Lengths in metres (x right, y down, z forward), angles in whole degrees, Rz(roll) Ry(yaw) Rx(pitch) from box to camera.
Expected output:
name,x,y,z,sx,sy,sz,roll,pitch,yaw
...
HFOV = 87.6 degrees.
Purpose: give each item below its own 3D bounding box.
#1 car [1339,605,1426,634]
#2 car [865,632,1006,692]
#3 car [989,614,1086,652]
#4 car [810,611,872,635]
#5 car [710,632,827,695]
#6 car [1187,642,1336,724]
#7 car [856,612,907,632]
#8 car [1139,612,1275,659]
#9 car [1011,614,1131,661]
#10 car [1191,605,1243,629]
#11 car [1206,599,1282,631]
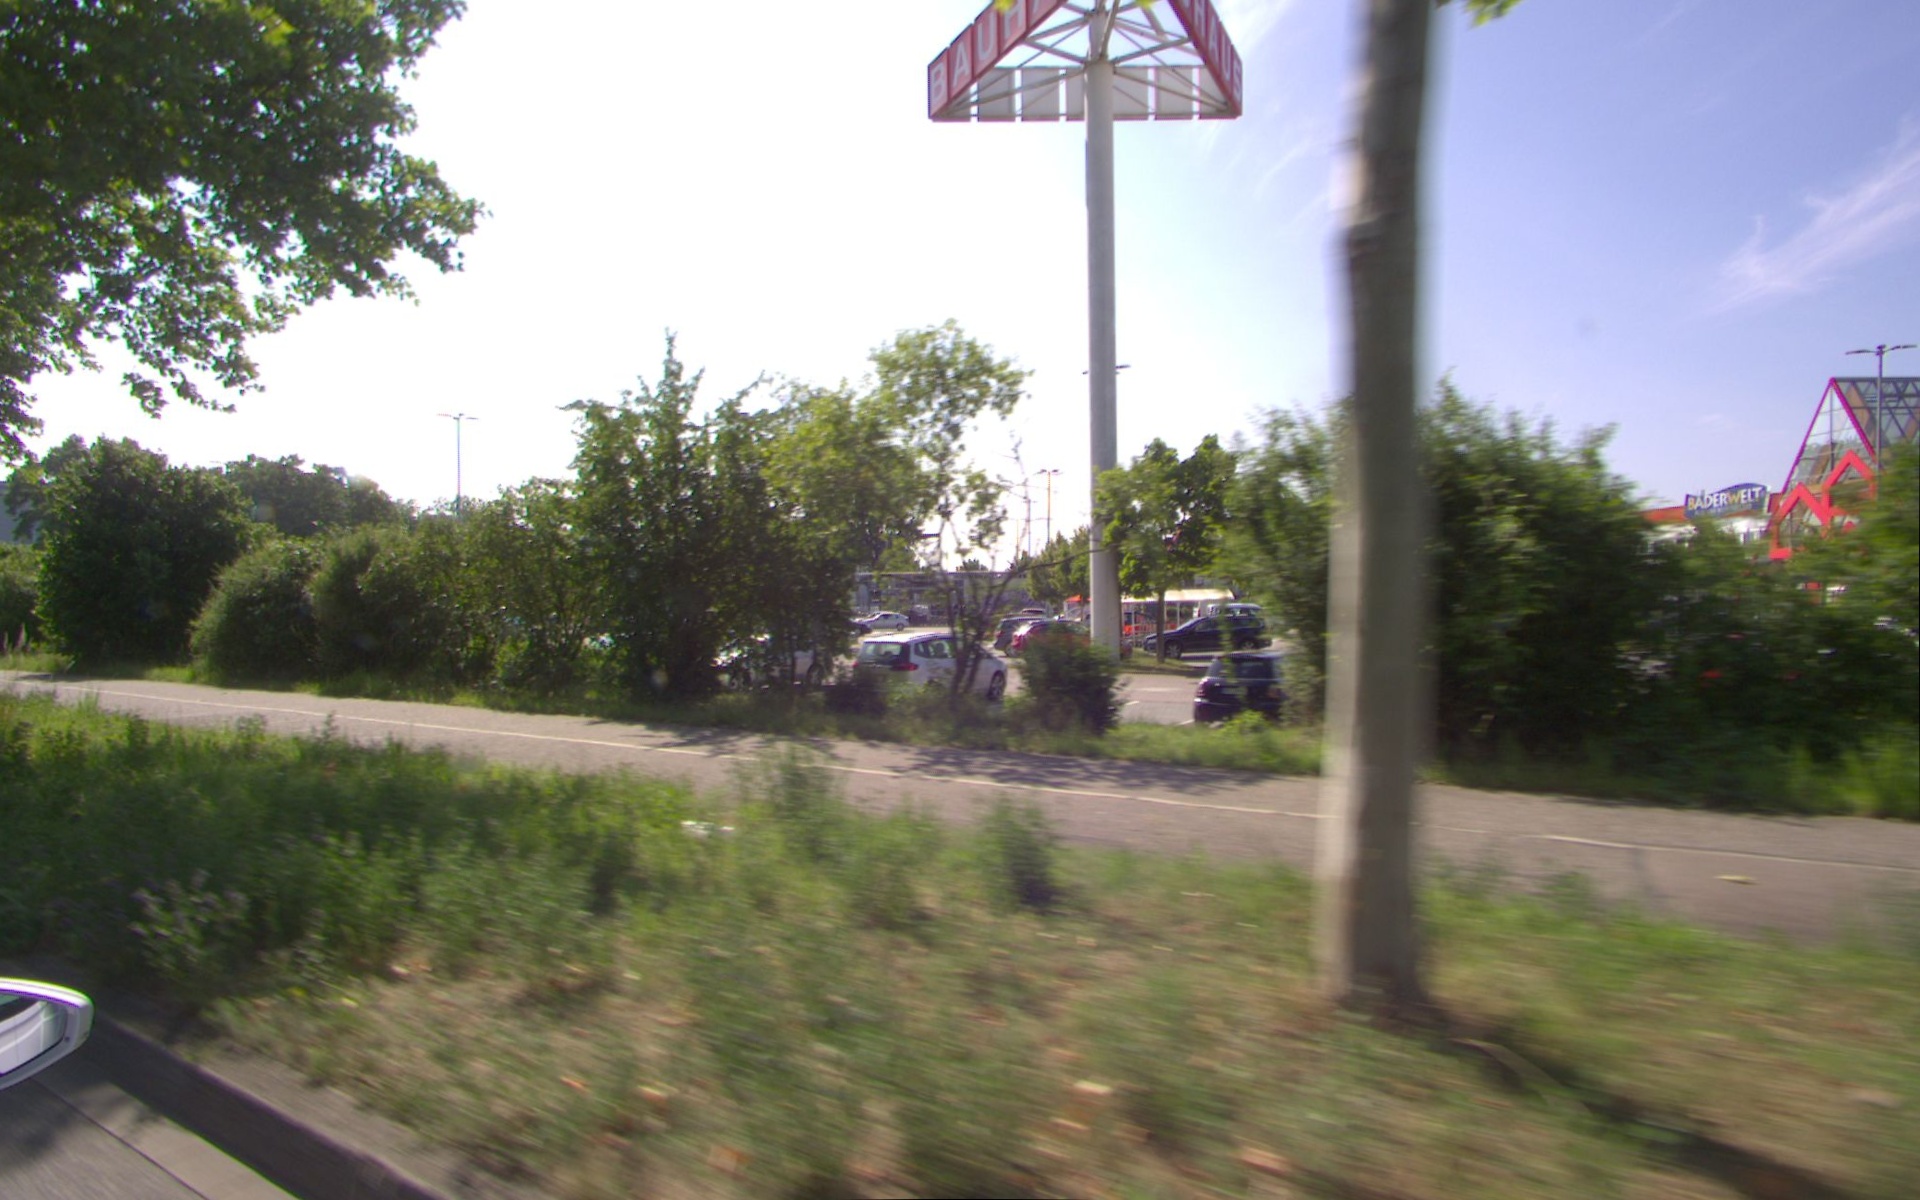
name,x,y,z,sx,sy,sz,roll,pitch,yaw
car,20.111,0.946,47.763,3.523,1.341,1.603,0,-2,7
car,-0.458,1.342,22.569,1.178,1.240,3.953,-1,-2,33
car,3.098,1.319,40.476,3.715,1.505,1.781,0,-1,-4
car,-7.806,1.523,66.019,3.922,1.545,1.753,0,-1,-1
car,-5.036,1.637,26.645,1.178,1.475,3.145,-1,0,33
car,5.765,1.491,18.890,1.717,1.239,3.571,-1,0,34
car,-6.119,1.708,78.268,3.922,1.545,1.753,0,-1,-3
car,9.144,1.298,37.359,4.665,1.650,1.629,0,2,1
car,3.790,1.286,34.746,3.922,1.528,2.000,-1,0,-1
car,20.709,1.373,80.623,3.787,1.972,1.530,0,-1,0
car,16.314,0.868,57.668,3.923,1.772,2.001,0,-2,7
